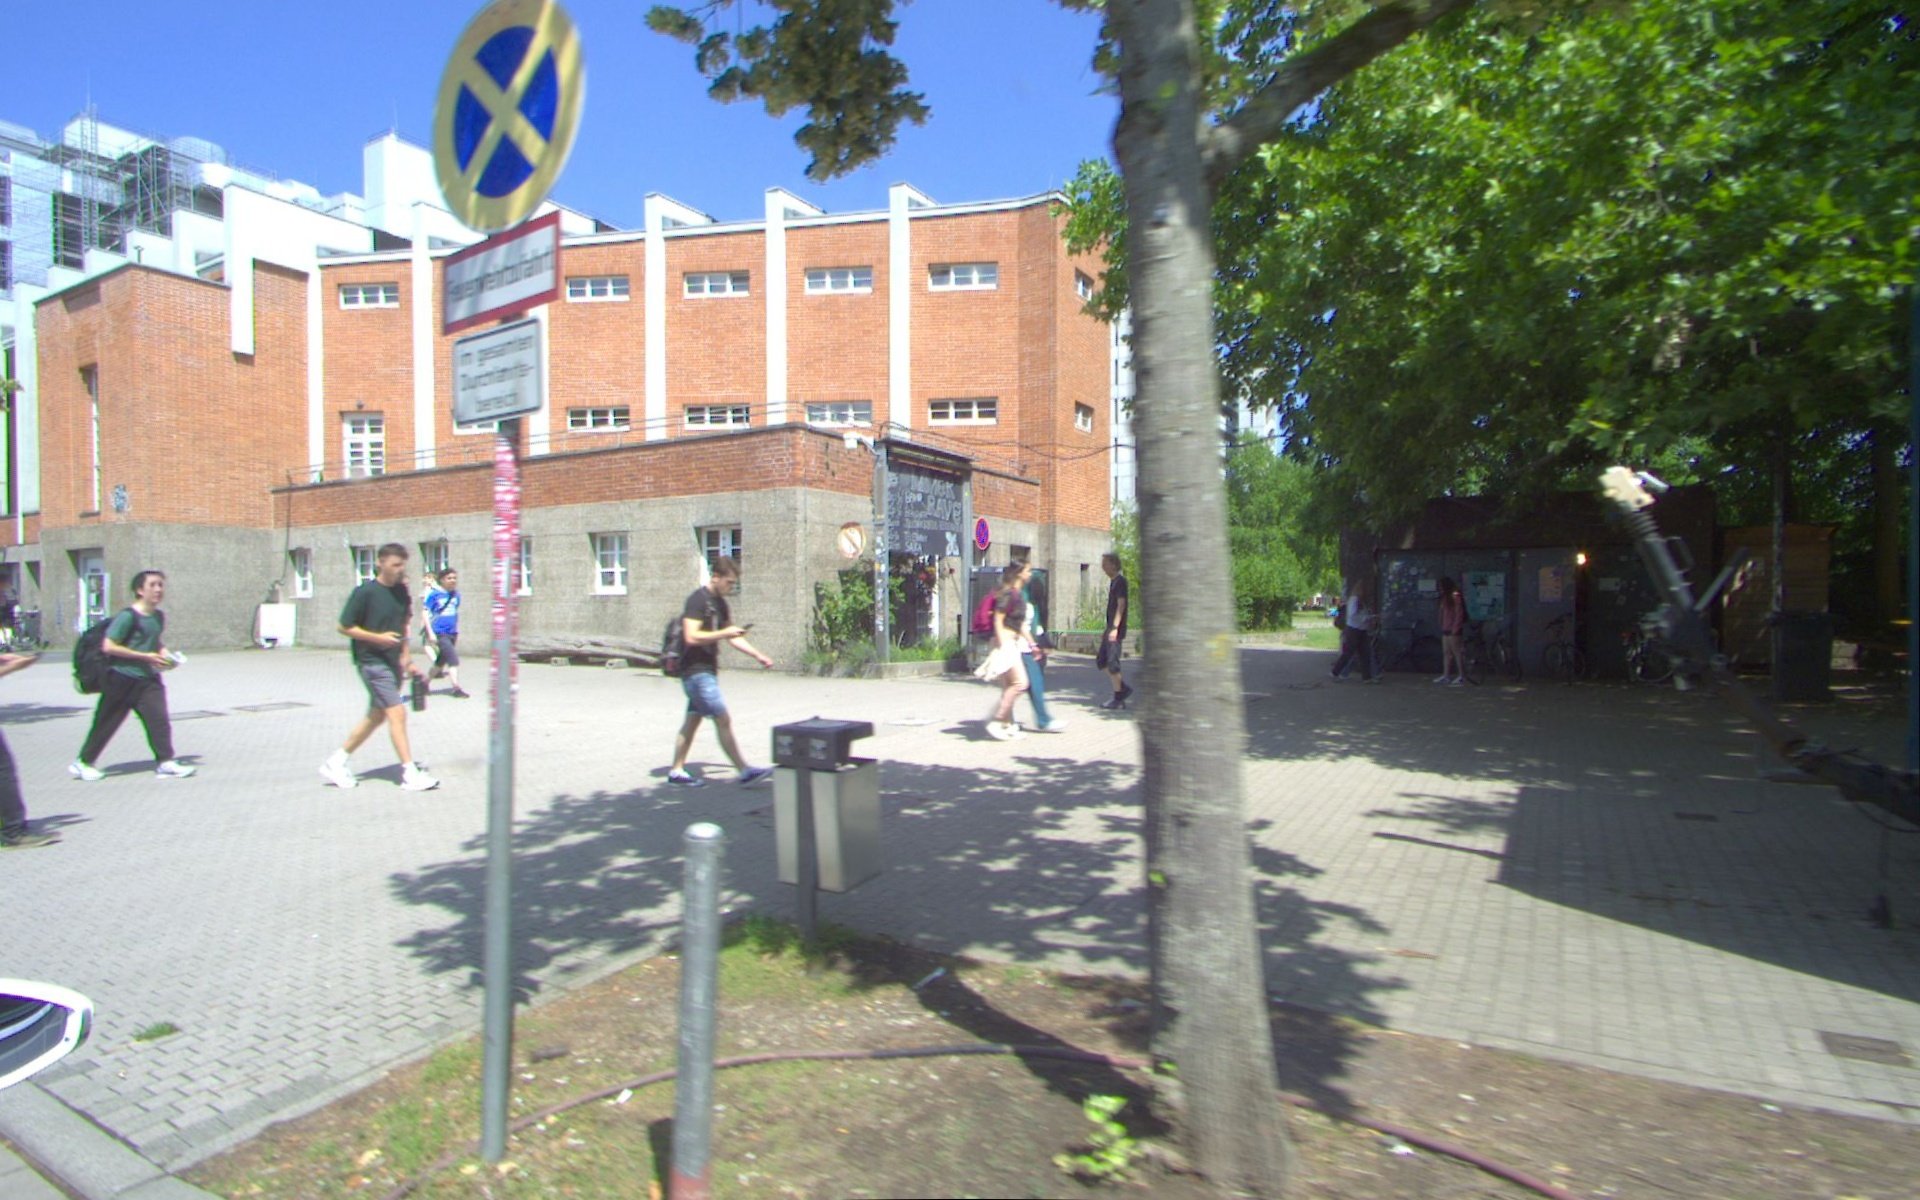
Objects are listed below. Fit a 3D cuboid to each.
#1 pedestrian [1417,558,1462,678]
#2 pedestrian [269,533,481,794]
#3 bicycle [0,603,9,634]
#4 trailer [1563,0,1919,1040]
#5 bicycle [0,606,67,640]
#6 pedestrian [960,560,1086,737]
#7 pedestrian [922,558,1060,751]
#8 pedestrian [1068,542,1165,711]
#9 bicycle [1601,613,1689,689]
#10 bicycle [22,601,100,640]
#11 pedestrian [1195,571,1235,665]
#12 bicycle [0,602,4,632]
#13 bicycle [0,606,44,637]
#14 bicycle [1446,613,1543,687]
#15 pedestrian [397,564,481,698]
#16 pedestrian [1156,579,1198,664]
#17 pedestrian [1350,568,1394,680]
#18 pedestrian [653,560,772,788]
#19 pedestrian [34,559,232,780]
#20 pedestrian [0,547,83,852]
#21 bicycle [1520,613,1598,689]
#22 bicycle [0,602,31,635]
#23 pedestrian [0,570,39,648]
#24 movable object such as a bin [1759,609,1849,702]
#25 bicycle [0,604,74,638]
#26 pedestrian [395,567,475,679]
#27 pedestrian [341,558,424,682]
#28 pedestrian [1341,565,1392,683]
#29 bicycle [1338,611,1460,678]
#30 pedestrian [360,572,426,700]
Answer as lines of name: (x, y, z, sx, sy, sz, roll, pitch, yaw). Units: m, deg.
pedestrian: (7.828, 0.287, 16.344, 0.523, 1.908, 0.445, 1, 1, 41)
pedestrian: (-4.470, 0.457, 7.721, 1.095, 1.885, 0.854, 0, 1, 7)
bicycle: (-31.718, 0.609, 32.023, 0.551, 0.998, 1.805, 1, 2, 30)
trailer: (5.324, -0.332, 2.766, 6.163, 3.093, 2.687, 0, 2, 30)
bicycle: (-27.878, 0.676, 29.818, 0.551, 0.924, 1.806, 1, 2, 30)
pedestrian: (0.645, 0.452, 10.059, 0.934, 1.661, 0.873, 0, 4, 29)
pedestrian: (0.293, 0.459, 9.194, 0.935, 1.660, 0.873, 0, 3, 31)
pedestrian: (1.838, 0.303, 11.677, 1.056, 1.891, 0.762, 0, 0, 14)
bicycle: (10.581, 0.760, 15.431, 0.774, 1.085, 2.383, 0, -1, 43)
bicycle: (-25.511, 0.571, 28.426, 0.551, 1.047, 1.532, 1, 2, 30)
pedestrian: (5.364, 0.376, 21.046, 0.719, 1.908, 0.833, -1, 0, 21)
bicycle: (-32.236, 0.588, 32.373, 0.551, 0.998, 1.805, 1, 2, 30)
bicycle: (-29.126, 0.664, 30.425, 0.551, 0.924, 1.805, 1, 2, 30)
bicycle: (8.751, 0.778, 16.346, 0.775, 1.086, 2.382, 0, 0, 44)
pedestrian: (-7.278, 0.418, 14.014, 0.739, 1.812, 0.709, 0, 1, 19)
pedestrian: (4.646, 0.462, 21.424, 0.719, 1.761, 0.833, -2, 0, 21)
pedestrian: (7.164, 0.411, 17.437, 0.548, 1.908, 0.529, -1, 2, 3)
pedestrian: (-1.845, 0.512, 7.572, 0.815, 1.617, 0.849, 0, 2, -12)
pedestrian: (-6.787, 0.539, 8.269, 0.974, 1.744, 0.703, 0, 3, -4)
pedestrian: (-5.860, 0.568, 5.764, 0.702, 1.739, 1.100, 2, 2, 40)
bicycle: (9.477, 0.763, 15.805, 0.773, 1.086, 2.387, 0, 0, 38)
bicycle: (-30.511, 0.594, 31.496, 0.551, 0.998, 1.805, 1, 2, 30)
pedestrian: (-23.508, 0.211, 24.756, 1.099, 1.885, 0.788, 1, 2, 30)
movable object such as a bin: (10.232, 0.662, 12.164, 0.732, 1.085, 0.598, -1, 0, 32)
bicycle: (-27.200, 0.600, 29.307, 0.551, 0.924, 1.806, 1, 2, 30)
pedestrian: (-8.860, 0.358, 16.905, 0.978, 1.829, 0.700, 1, 4, 26)
pedestrian: (-9.209, 0.296, 15.979, 0.977, 1.918, 0.701, 1, 2, 26)
pedestrian: (6.723, 0.397, 16.561, 0.521, 1.908, 0.556, 0, 1, -29)
bicycle: (8.040, 0.797, 18.379, 1.997, 1.155, 0.572, 0, 1, 31)
pedestrian: (-7.534, 0.465, 13.317, 0.561, 1.653, 0.502, 0, 1, 19)
